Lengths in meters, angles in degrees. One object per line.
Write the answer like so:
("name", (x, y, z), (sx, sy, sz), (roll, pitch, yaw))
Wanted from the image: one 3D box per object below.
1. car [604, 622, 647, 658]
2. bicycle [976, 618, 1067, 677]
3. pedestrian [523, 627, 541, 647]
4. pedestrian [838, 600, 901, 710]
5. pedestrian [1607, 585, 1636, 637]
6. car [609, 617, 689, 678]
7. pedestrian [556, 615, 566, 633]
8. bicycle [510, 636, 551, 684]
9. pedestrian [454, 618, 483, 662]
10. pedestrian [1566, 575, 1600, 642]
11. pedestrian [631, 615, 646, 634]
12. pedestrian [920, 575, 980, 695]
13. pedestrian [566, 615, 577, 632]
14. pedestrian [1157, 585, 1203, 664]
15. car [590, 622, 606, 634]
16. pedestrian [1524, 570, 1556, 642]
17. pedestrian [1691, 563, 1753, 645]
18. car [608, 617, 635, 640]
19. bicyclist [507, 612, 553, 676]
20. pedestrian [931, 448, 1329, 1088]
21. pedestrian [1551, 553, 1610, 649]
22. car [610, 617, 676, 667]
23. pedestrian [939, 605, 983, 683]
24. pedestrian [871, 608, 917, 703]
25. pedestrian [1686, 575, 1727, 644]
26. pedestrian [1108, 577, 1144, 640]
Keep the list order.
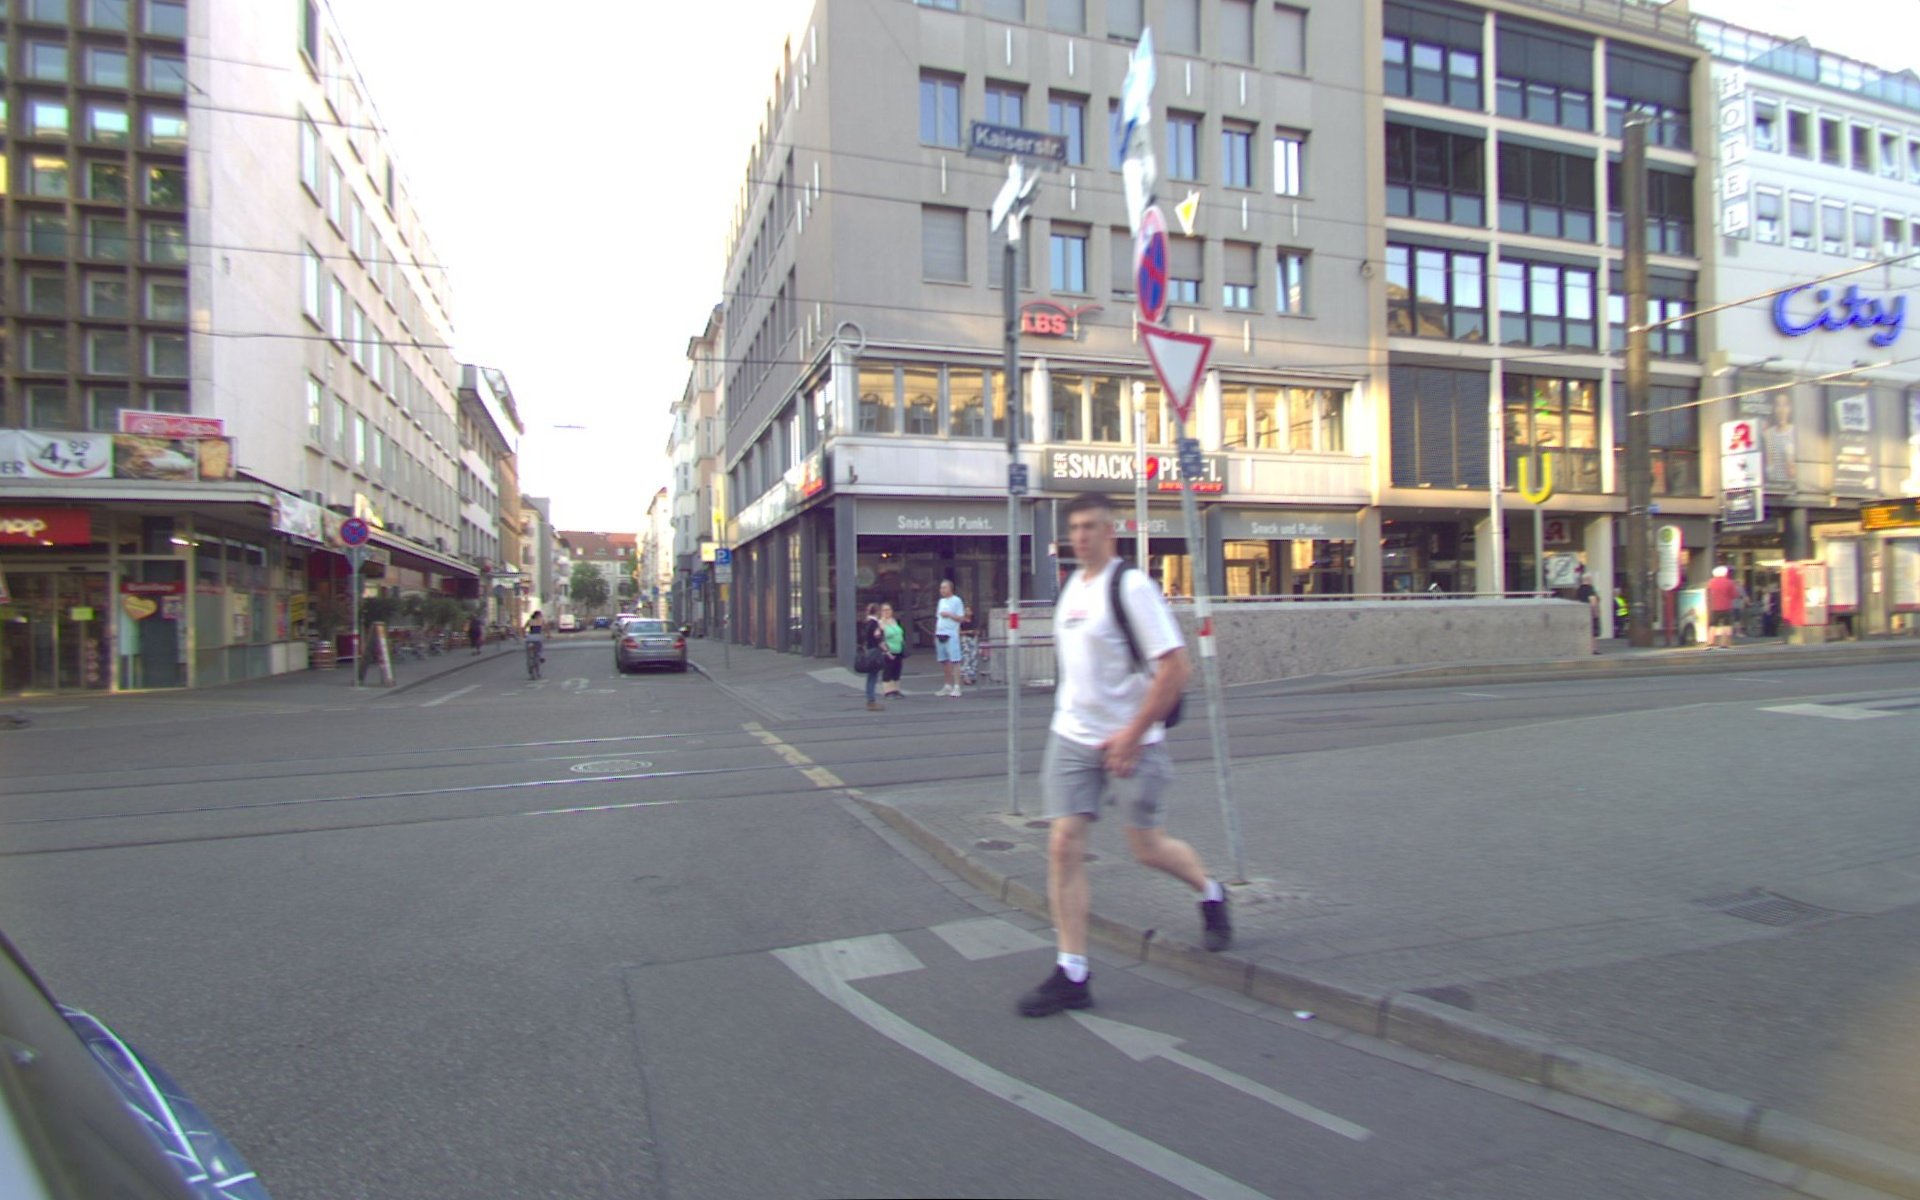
("car", (-15.069, 1.755, 45.605), (1.769, 1.522, 4.012), (0, -1, -18))
("bicycle", (1.290, 0.980, 21.151), (1.770, 1.116, 0.501), (-3, -1, -14))
("pedestrian", (-36.314, 3.140, 85.792), (1.278, 1.674, 1.017), (-2, -1, -17))
("pedestrian", (-1.311, 0.792, 14.719), (0.684, 1.553, 0.599), (-2, -2, 31))
("pedestrian", (19.976, 0.327, 30.574), (0.509, 1.559, 0.511), (0, -2, -27))
("car", (-8.655, 1.257, 27.960), (1.769, 1.522, 4.147), (0, -1, -22))
("pedestrian", (-39.663, 2.383, 100.708), (0.856, 1.674, 0.934), (-2, -1, -19))
("bicycle", (-10.711, 1.476, 25.302), (0.803, 1.081, 2.120), (-2, -1, -20))
("pedestrian", (-19.440, 1.571, 40.021), (0.856, 1.674, 0.933), (-2, -1, -16))
("pedestrian", (14.949, 0.210, 24.303), (0.625, 1.600, 0.599), (-2, -2, 29))
("pedestrian", (-29.300, 2.224, 92.322), (0.865, 1.674, 0.925), (-2, -1, 20))
("pedestrian", (-0.176, 0.573, 16.877), (0.697, 1.941, 0.778), (0, -2, -27))
("pedestrian", (-38.731, 2.368, 100.956), (0.961, 1.674, 0.981), (-2, -1, -19))
("pedestrian", (4.920, 0.541, 22.626), (0.697, 1.738, 0.718), (0, -1, -21))
("car", (-46.484, 3.548, 129.898), (1.769, 1.522, 4.012), (0, -1, -18))
("pedestrian", (14.264, 0.161, 24.909), (0.625, 1.738, 0.599), (-1, -2, 28))
("pedestrian", (16.064, 0.089, 21.343), (0.772, 1.710, 0.718), (0, -2, -25))
("car", (-23.689, 1.988, 70.868), (1.769, 1.522, 4.012), (0, -1, -18))
("bicyclist", (-10.734, 1.088, 25.315), (0.983, 1.513, 0.860), (-2, -1, -20))
("pedestrian", (0.625, 0.493, 3.698), (1.017, 1.877, 1.028), (-1, -1, 43))
("pedestrian", (12.810, 0.029, 20.895), (0.697, 1.939, 0.718), (0, -2, -24))
("car", (-10.597, 1.354, 33.645), (1.769, 1.522, 4.147), (0, -1, -22))
("pedestrian", (0.018, 0.826, 19.113), (0.680, 1.445, 0.552), (-1, -1, 19))
("pedestrian", (-1.081, 0.896, 16.512), (0.546, 1.505, 0.607), (0, -2, -27))
("pedestrian", (17.690, 0.225, 23.986), (0.618, 1.600, 0.606), (0, -2, -39))
("pedestrian", (4.618, 0.234, 28.157), (0.697, 1.738, 0.718), (0, -1, -21))
